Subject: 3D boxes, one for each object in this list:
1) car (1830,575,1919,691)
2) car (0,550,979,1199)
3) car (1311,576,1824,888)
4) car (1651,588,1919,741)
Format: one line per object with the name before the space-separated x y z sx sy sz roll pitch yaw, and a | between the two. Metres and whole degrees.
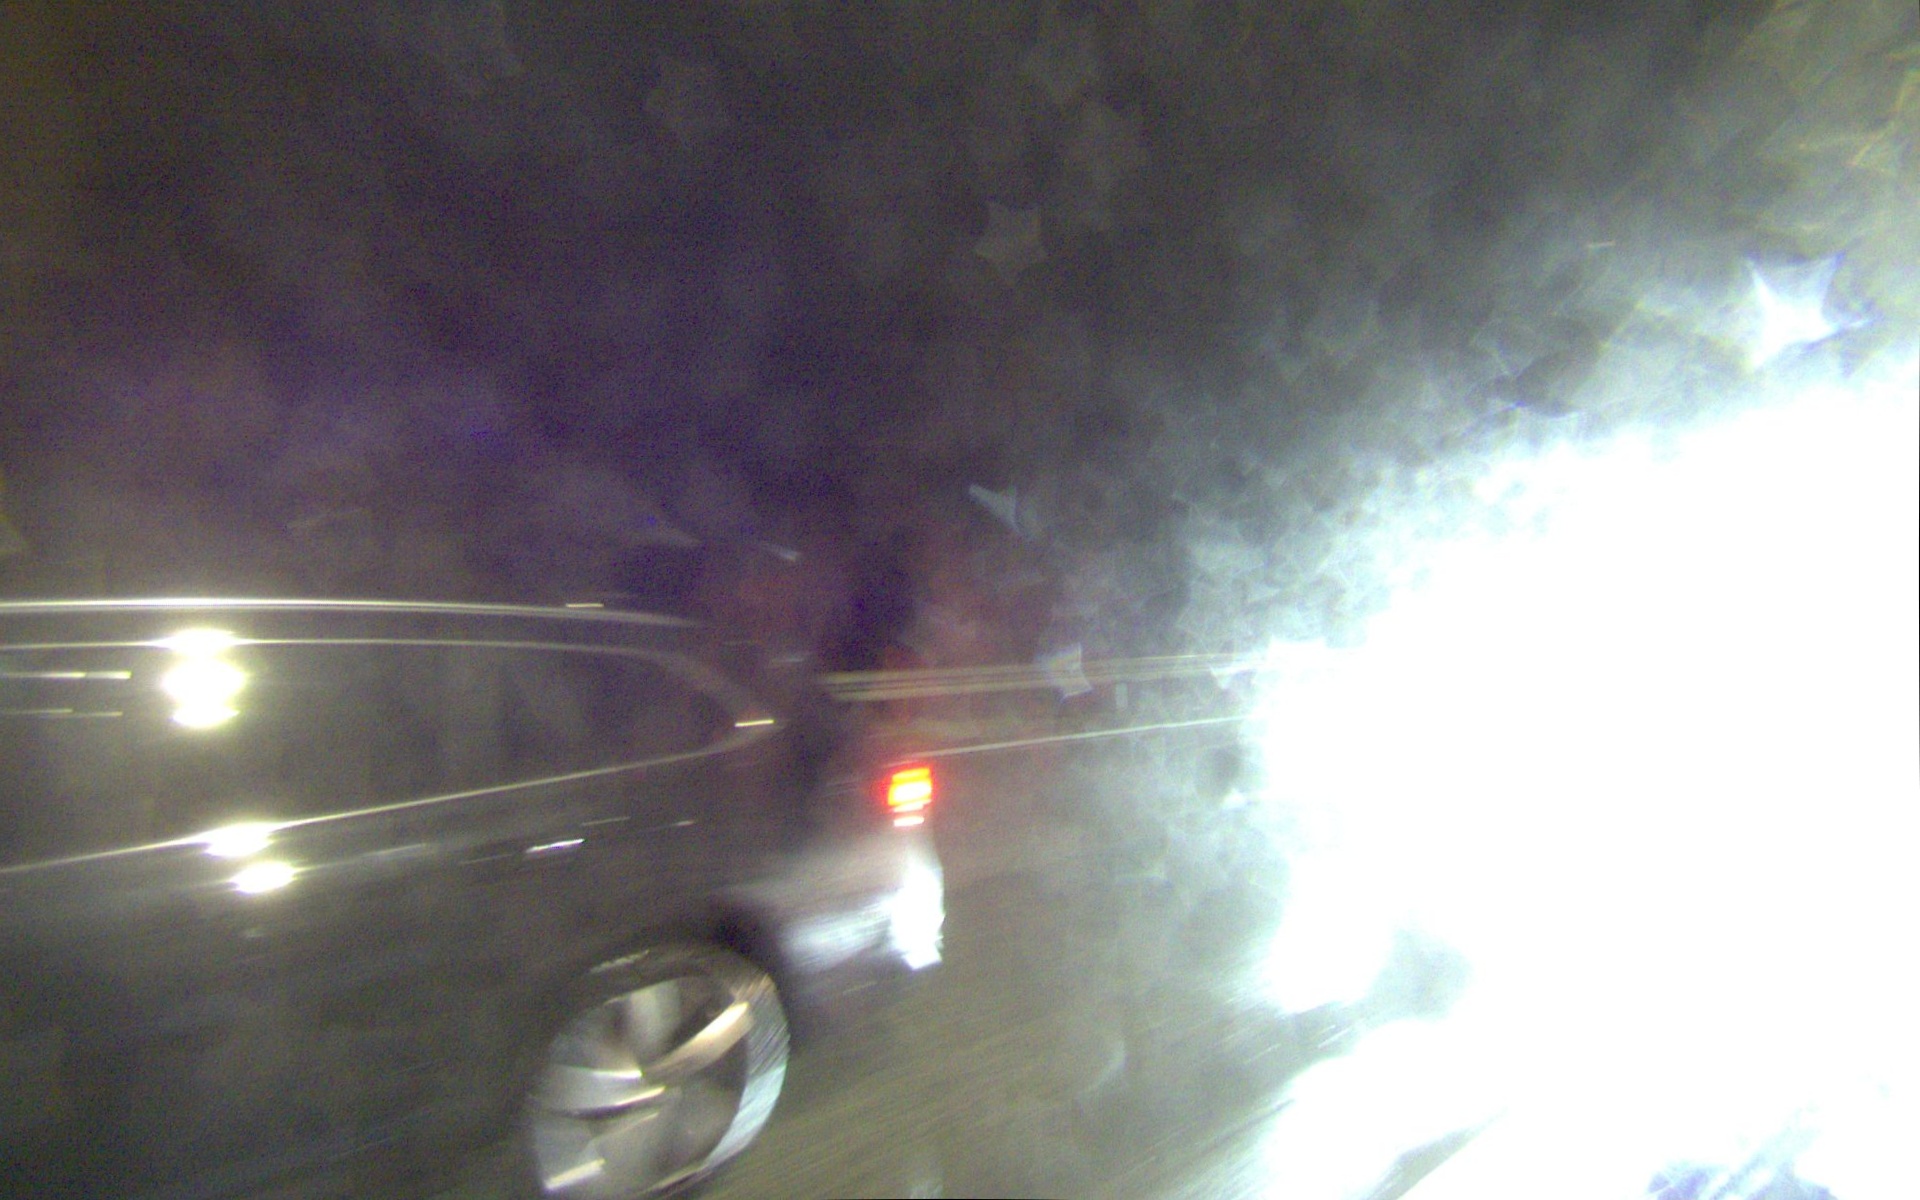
car | 15.162 0.434 15.577 4.314 1.618 1.998 -1 2 -40
car | -2.209 0.706 2.146 4.479 1.525 1.676 -1 -1 -40
car | 4.425 0.620 7.073 4.335 1.540 1.710 -1 1 -39
car | 9.736 0.600 11.736 4.065 1.435 1.742 -1 1 -39
